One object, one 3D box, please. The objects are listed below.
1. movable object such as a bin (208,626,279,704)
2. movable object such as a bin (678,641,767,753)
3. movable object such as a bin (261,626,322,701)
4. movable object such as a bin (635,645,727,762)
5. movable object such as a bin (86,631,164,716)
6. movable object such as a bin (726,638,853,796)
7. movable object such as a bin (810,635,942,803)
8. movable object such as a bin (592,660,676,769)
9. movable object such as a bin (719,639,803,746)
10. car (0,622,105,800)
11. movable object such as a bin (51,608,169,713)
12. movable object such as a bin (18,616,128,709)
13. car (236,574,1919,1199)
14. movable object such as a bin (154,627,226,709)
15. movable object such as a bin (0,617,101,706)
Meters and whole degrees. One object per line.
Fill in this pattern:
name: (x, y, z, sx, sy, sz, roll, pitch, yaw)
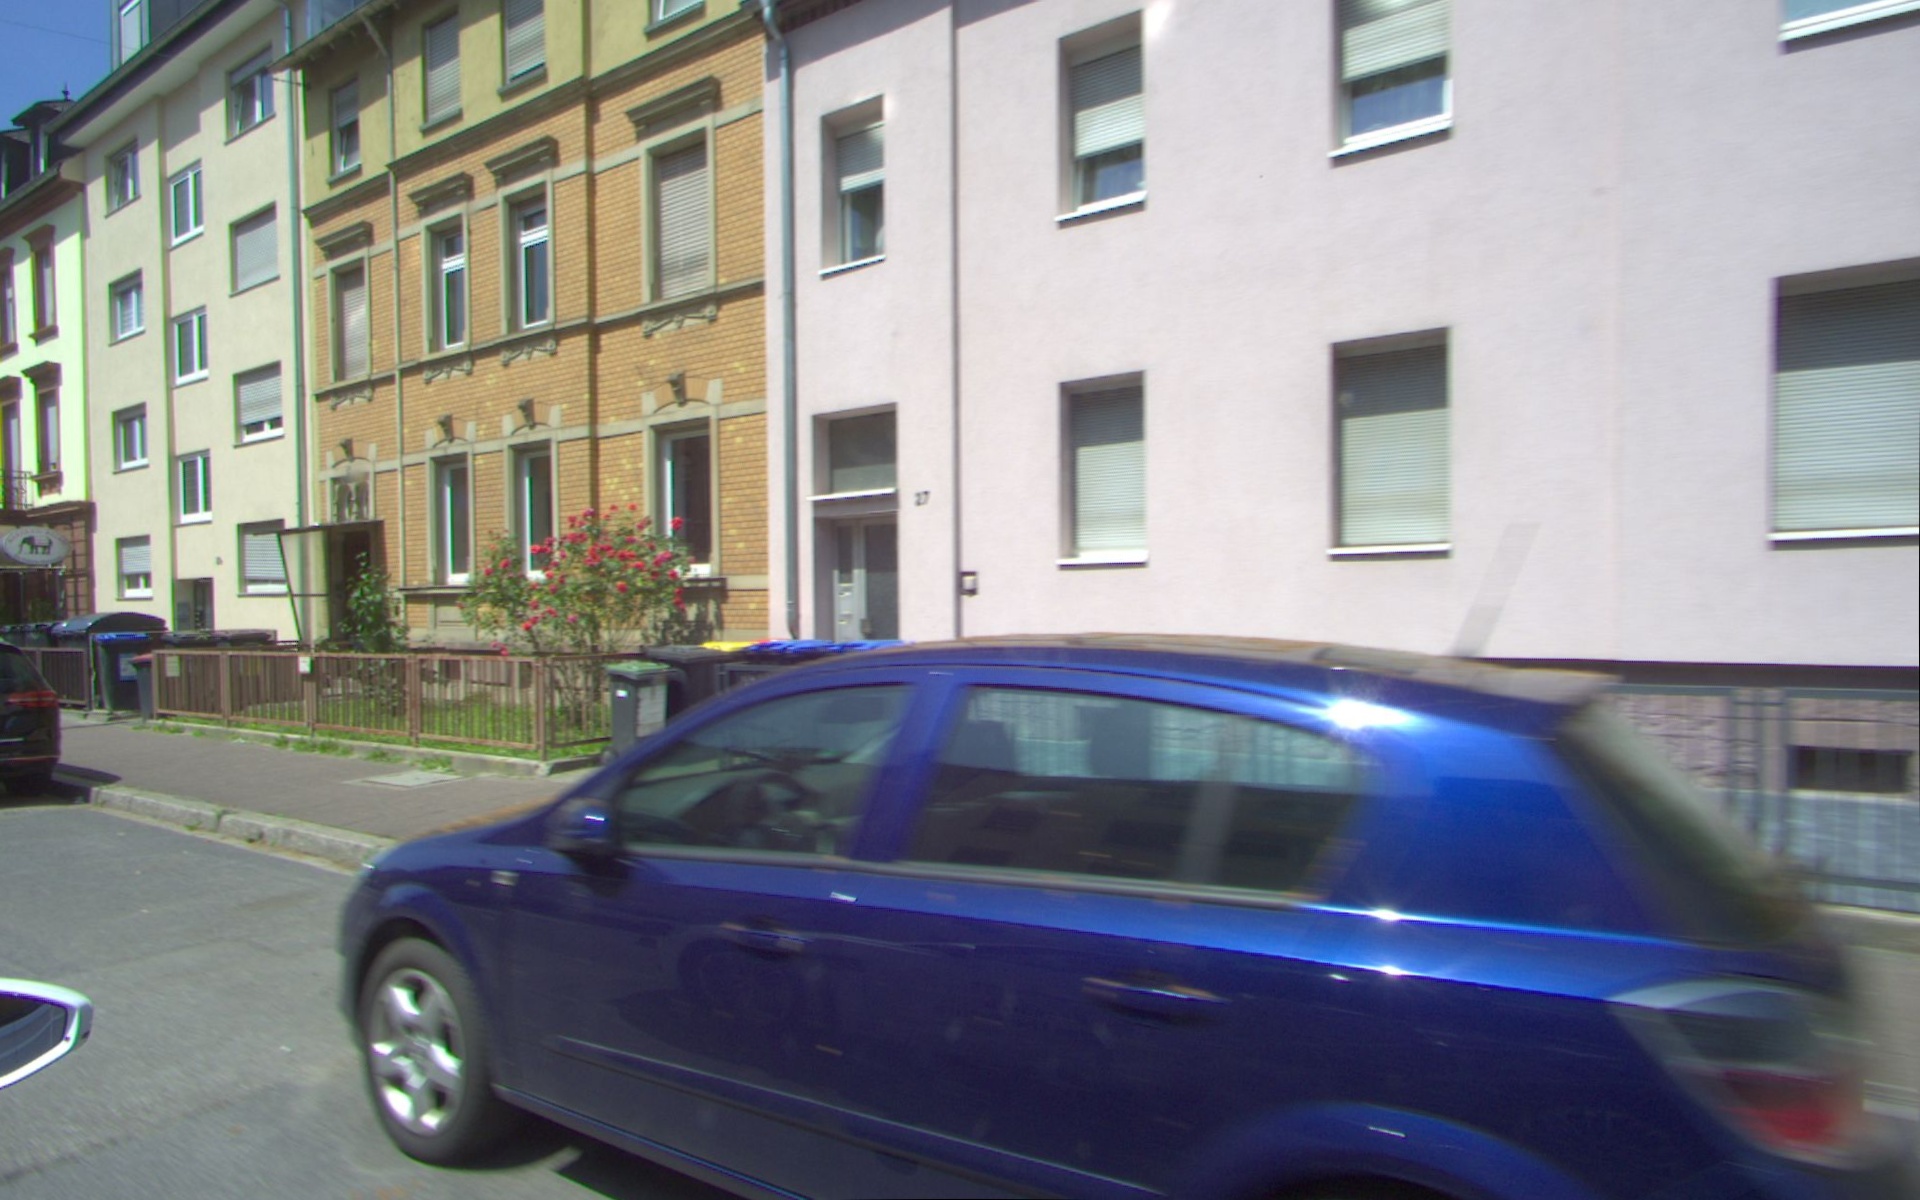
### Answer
movable object such as a bin: (-11.302, 1.003, 15.796, 0.840, 1.192, 0.667, 0, -1, 34)
movable object such as a bin: (-2.393, 0.954, 10.088, 0.658, 1.064, 0.558, -1, 1, 30)
movable object such as a bin: (-10.948, 1.022, 16.400, 0.617, 1.192, 0.637, 0, -1, 34)
movable object such as a bin: (-2.671, 0.967, 9.585, 0.658, 1.046, 0.527, 0, 1, 30)
movable object such as a bin: (-12.112, 1.043, 14.527, 0.898, 1.192, 0.637, 0, -1, 34)
movable object such as a bin: (-1.283, 0.845, 7.548, 0.674, 1.097, 0.650, 0, 1, 35)
movable object such as a bin: (-0.595, 0.811, 7.151, 0.674, 1.097, 0.650, 0, 1, 35)
movable object such as a bin: (-2.987, 1.035, 9.184, 0.556, 0.925, 0.467, 0, 1, 30)
movable object such as a bin: (-2.099, 0.954, 10.590, 0.658, 1.064, 0.558, -1, 1, 30)
car: (-10.068, 0.945, 9.321, 4.550, 1.483, 1.858, -1, -2, 31)
movable object such as a bin: (-13.098, 0.901, 15.431, 1.426, 1.537, 1.040, 0, -1, 34)
movable object such as a bin: (-14.265, 0.977, 16.114, 1.237, 1.420, 1.040, 0, -1, 34)
car: (0.106, 0.771, 2.712, 4.550, 1.506, 1.693, -1, -2, 31)
movable object such as a bin: (-11.680, 1.008, 15.192, 0.840, 1.202, 0.637, 0, -1, 34)
movable object such as a bin: (-15.296, 1.004, 16.803, 1.237, 1.420, 1.040, 0, -1, 34)
